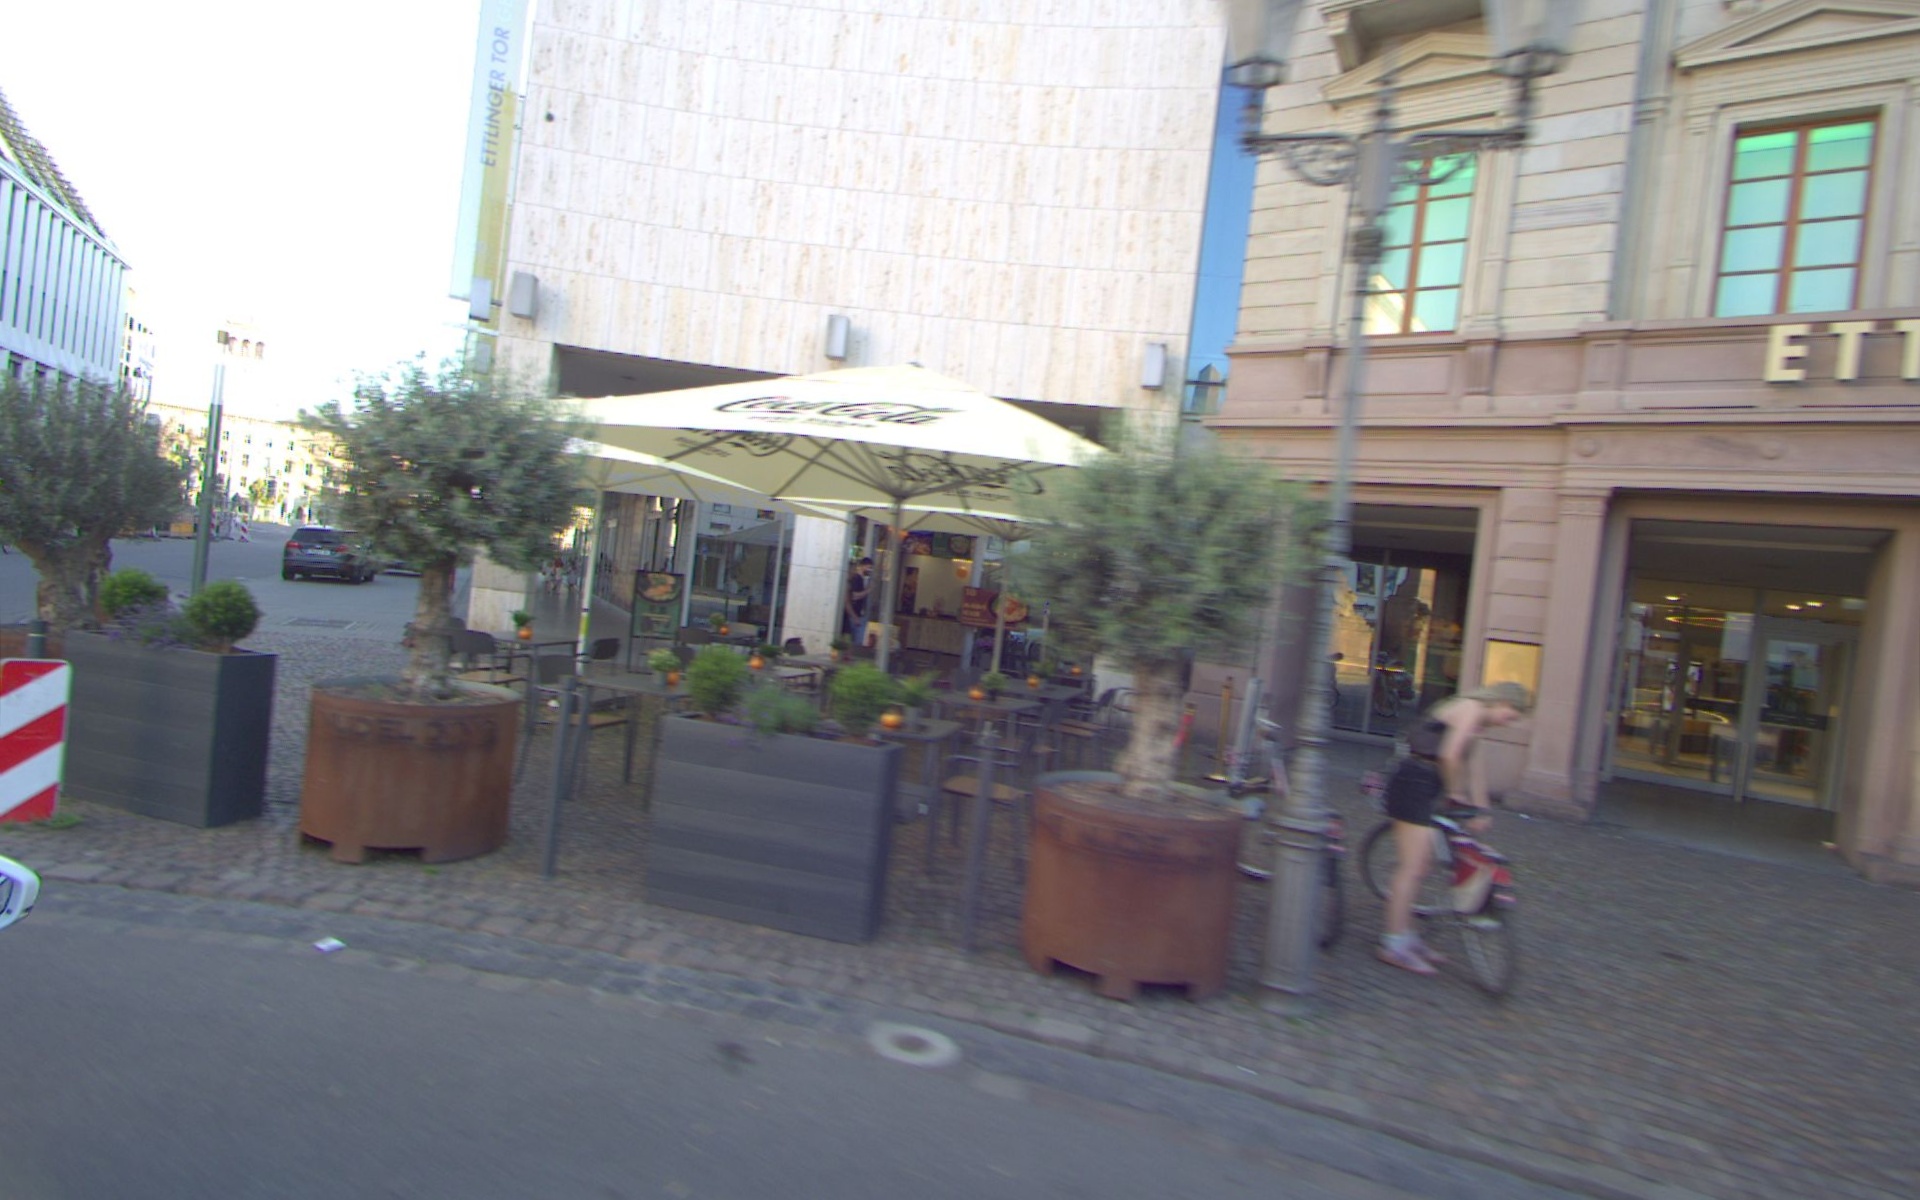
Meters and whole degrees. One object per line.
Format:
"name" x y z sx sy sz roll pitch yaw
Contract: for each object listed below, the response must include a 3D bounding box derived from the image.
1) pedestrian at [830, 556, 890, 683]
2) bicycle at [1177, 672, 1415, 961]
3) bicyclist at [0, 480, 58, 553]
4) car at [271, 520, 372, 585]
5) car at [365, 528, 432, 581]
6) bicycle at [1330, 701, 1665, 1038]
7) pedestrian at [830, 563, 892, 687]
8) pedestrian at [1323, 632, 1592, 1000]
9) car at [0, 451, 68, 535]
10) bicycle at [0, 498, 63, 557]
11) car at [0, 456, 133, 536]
"pedestrian" -1.564 0.301 15.869 0.705 1.885 0.669 7 1 -3
"bicycle" 1.819 1.117 5.799 0.596 1.143 1.904 7 2 0
"bicyclist" -21.734 -1.923 23.399 0.790 1.551 0.967 6 1 -29
"car" -17.388 -1.292 27.566 1.777 1.510 4.166 3 1 -26
"car" -19.895 -1.613 35.788 1.750 1.659 4.031 3 2 -26
"bicycle" 2.641 1.255 5.253 0.596 1.143 1.904 7 2 1
"pedestrian" -1.482 0.371 15.214 0.705 1.767 0.669 7 1 -3
"pedestrian" 2.418 1.016 4.975 0.737 1.609 0.713 7 1 -8
"car" -31.123 -3.491 32.152 2.154 2.501 5.960 7 0 -26
"bicycle" -21.765 -1.684 23.370 0.790 1.232 2.216 6 0 -29
"car" -34.299 -3.896 38.829 2.154 2.501 5.960 7 0 -26
